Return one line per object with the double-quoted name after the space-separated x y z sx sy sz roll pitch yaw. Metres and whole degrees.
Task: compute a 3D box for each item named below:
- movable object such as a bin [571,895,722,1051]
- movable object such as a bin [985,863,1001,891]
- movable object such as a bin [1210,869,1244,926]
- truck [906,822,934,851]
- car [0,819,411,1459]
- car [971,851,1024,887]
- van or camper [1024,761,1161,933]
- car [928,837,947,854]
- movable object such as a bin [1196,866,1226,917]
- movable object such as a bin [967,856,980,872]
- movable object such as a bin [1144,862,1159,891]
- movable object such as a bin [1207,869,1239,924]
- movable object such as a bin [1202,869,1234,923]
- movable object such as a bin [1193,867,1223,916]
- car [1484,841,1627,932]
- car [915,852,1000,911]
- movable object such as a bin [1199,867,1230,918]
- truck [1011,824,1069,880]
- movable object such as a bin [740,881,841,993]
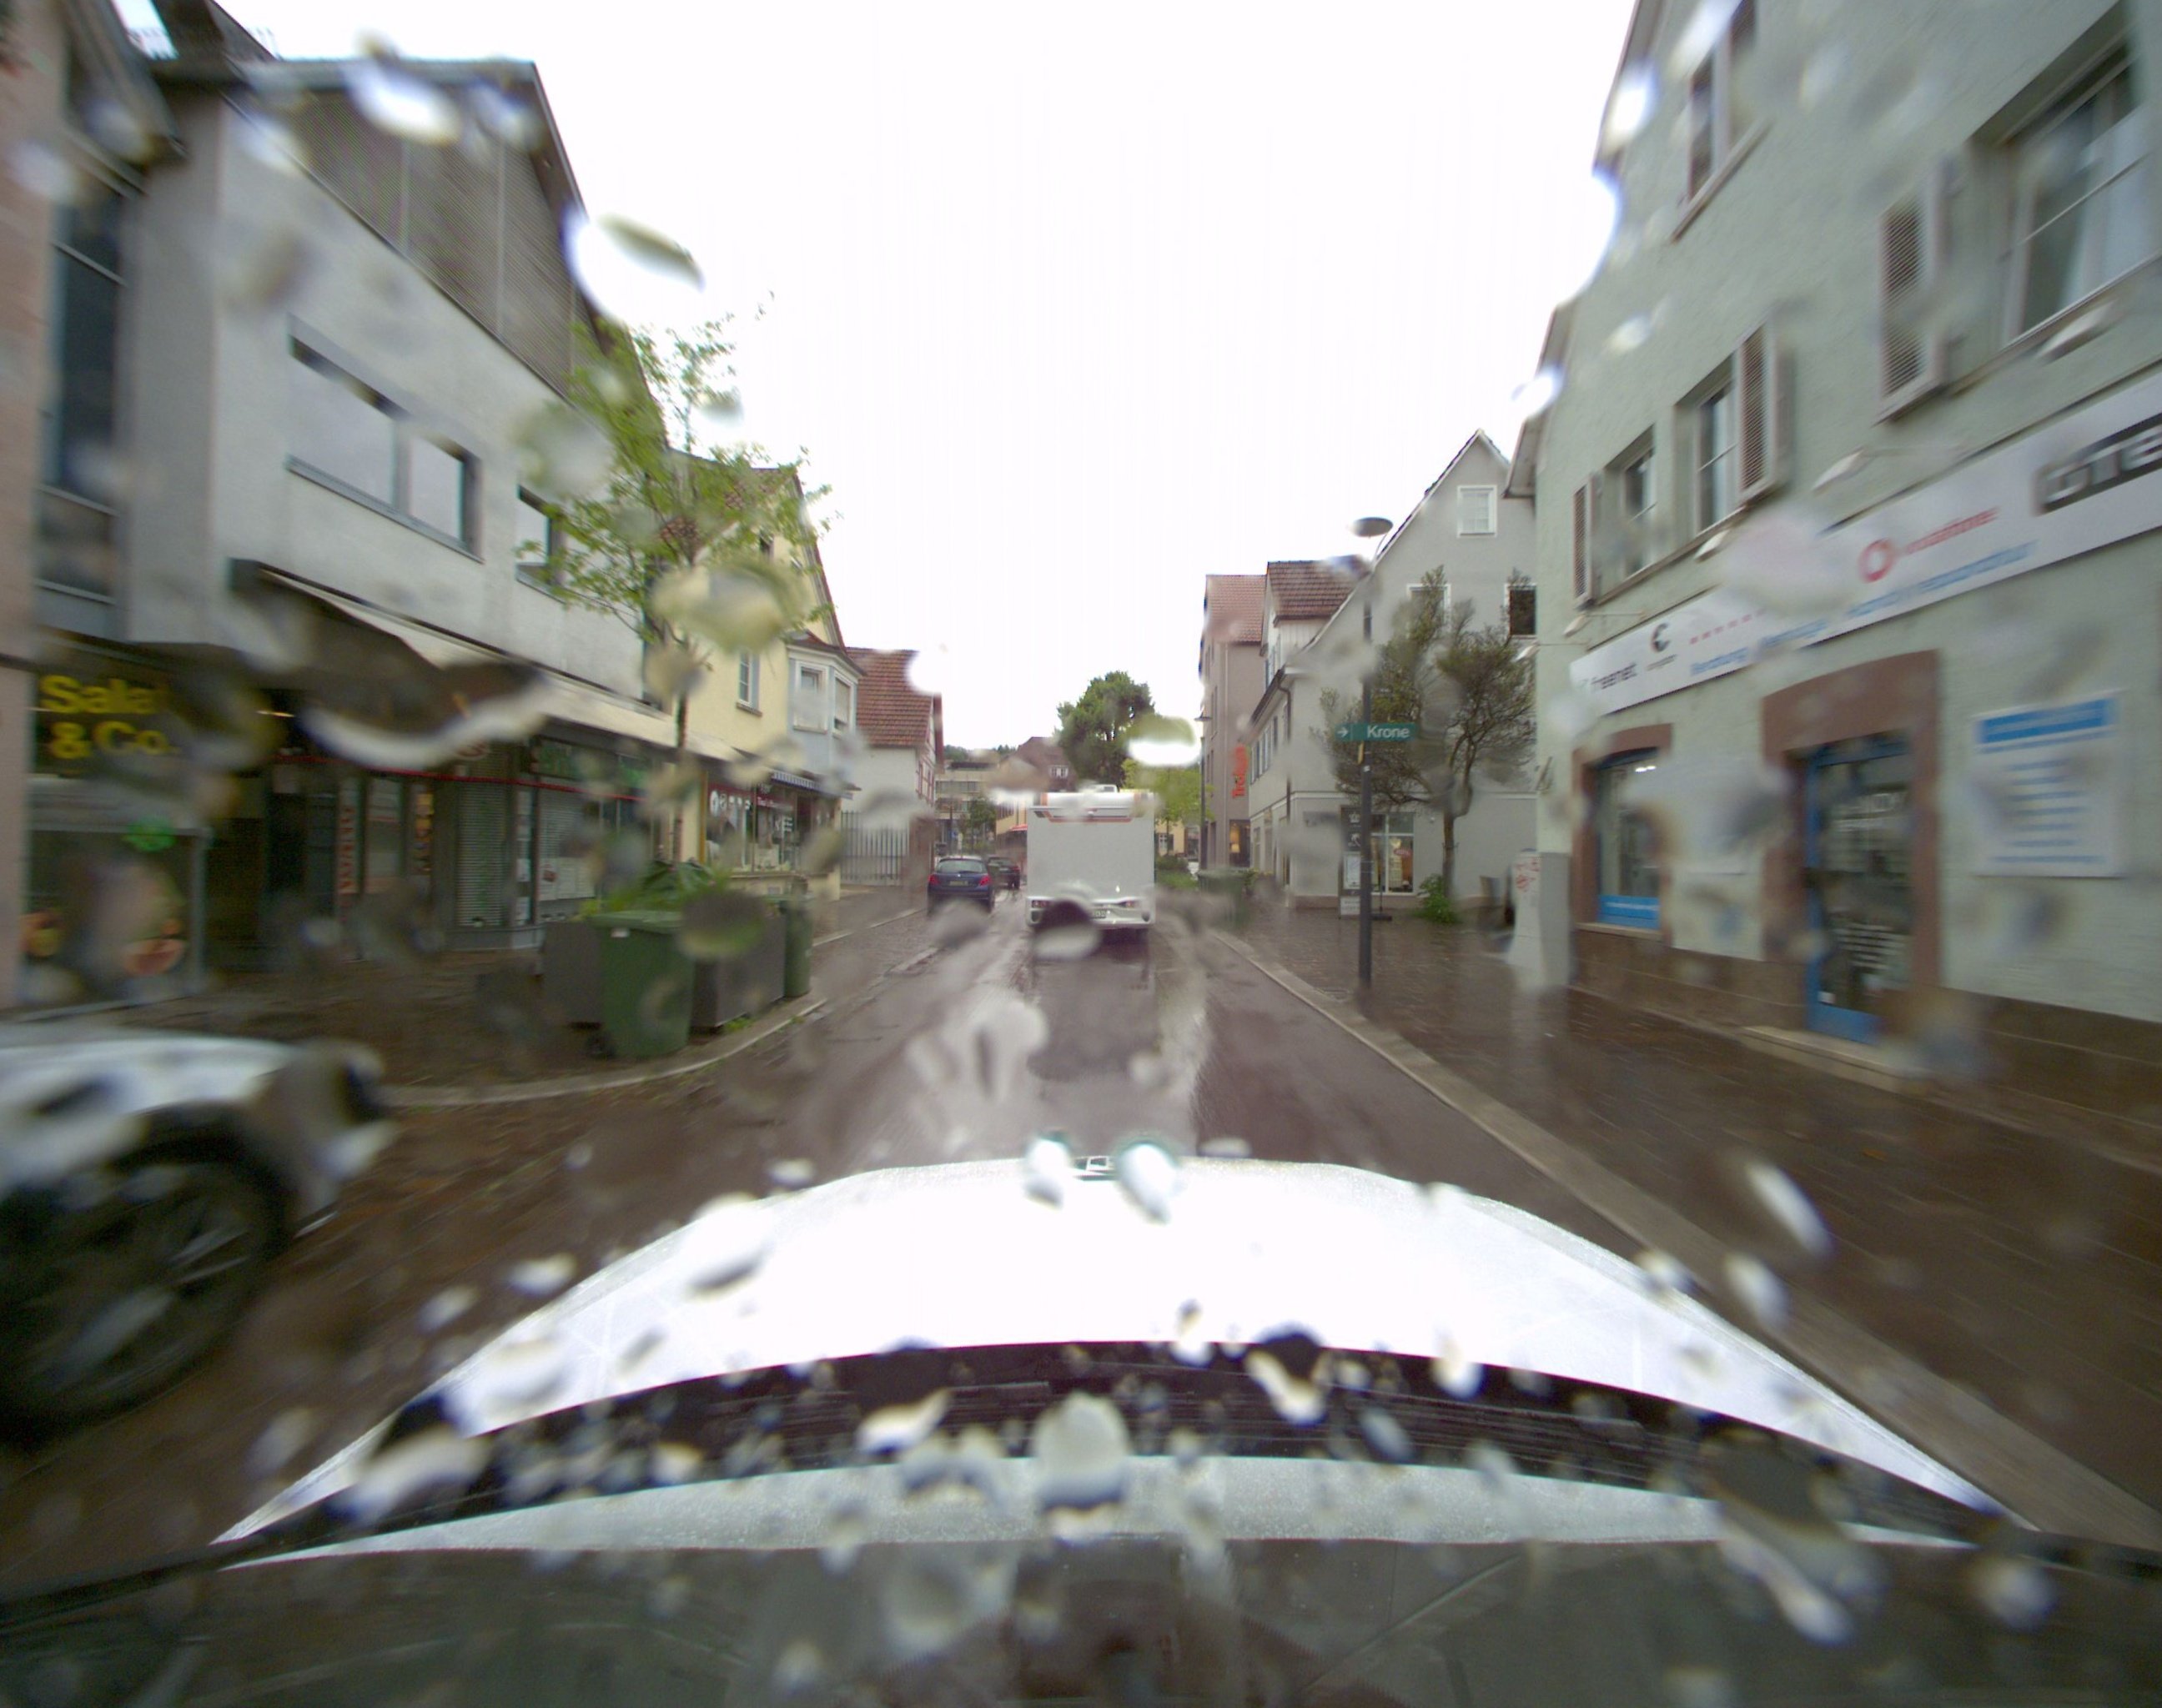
-3.290 0.876 6.223 0.813 1.106 0.609 0 -1 -3 "movable object such as a bin"
-3.652 0.947 33.725 0.629 1.113 0.732 0 -1 -7 "movable object such as a bin"
3.234 0.958 18.041 0.656 1.239 0.621 0 -1 1 "movable object such as a bin"
-16.787 -1.748 84.665 2.286 2.758 5.535 0 -1 -17 "truck"
-3.598 0.680 1.156 1.820 1.566 4.002 0 -1 3 "car"
-3.919 0.663 37.779 1.995 1.494 3.983 2 0 -12 "car"
0.148 -0.058 17.052 2.319 2.919 6.389 0 -1 -1 "van or camper"
-18.706 -1.100 105.992 1.998 2.014 3.977 0 -1 -17 "car"
3.238 0.930 20.324 0.675 1.250 0.565 0 -1 1 "movable object such as a bin"
-7.028 0.658 53.190 0.819 1.051 0.696 0 -1 -14 "movable object such as a bin"
2.785 0.878 32.241 0.542 1.156 0.576 0 -1 -2 "movable object such as a bin"
3.238 0.968 18.628 0.656 1.245 0.543 0 -1 1 "movable object such as a bin"
3.228 0.978 19.182 0.675 1.256 0.543 0 -1 1 "movable object such as a bin"
3.254 0.947 20.978 0.675 1.241 0.731 0 -1 1 "movable object such as a bin"
10.314 0.603 17.545 1.801 1.655 4.387 -1 1 42 "car"
-3.371 0.702 22.884 1.990 1.472 3.994 1 0 -4 "car"
3.228 0.927 19.748 0.675 1.232 0.565 0 -1 1 "movable object such as a bin"
-2.384 -0.048 45.923 2.462 2.939 6.174 0 -1 -11 "truck"
-3.095 0.869 8.742 0.813 1.106 0.609 3 -2 -3 "movable object such as a bin"
